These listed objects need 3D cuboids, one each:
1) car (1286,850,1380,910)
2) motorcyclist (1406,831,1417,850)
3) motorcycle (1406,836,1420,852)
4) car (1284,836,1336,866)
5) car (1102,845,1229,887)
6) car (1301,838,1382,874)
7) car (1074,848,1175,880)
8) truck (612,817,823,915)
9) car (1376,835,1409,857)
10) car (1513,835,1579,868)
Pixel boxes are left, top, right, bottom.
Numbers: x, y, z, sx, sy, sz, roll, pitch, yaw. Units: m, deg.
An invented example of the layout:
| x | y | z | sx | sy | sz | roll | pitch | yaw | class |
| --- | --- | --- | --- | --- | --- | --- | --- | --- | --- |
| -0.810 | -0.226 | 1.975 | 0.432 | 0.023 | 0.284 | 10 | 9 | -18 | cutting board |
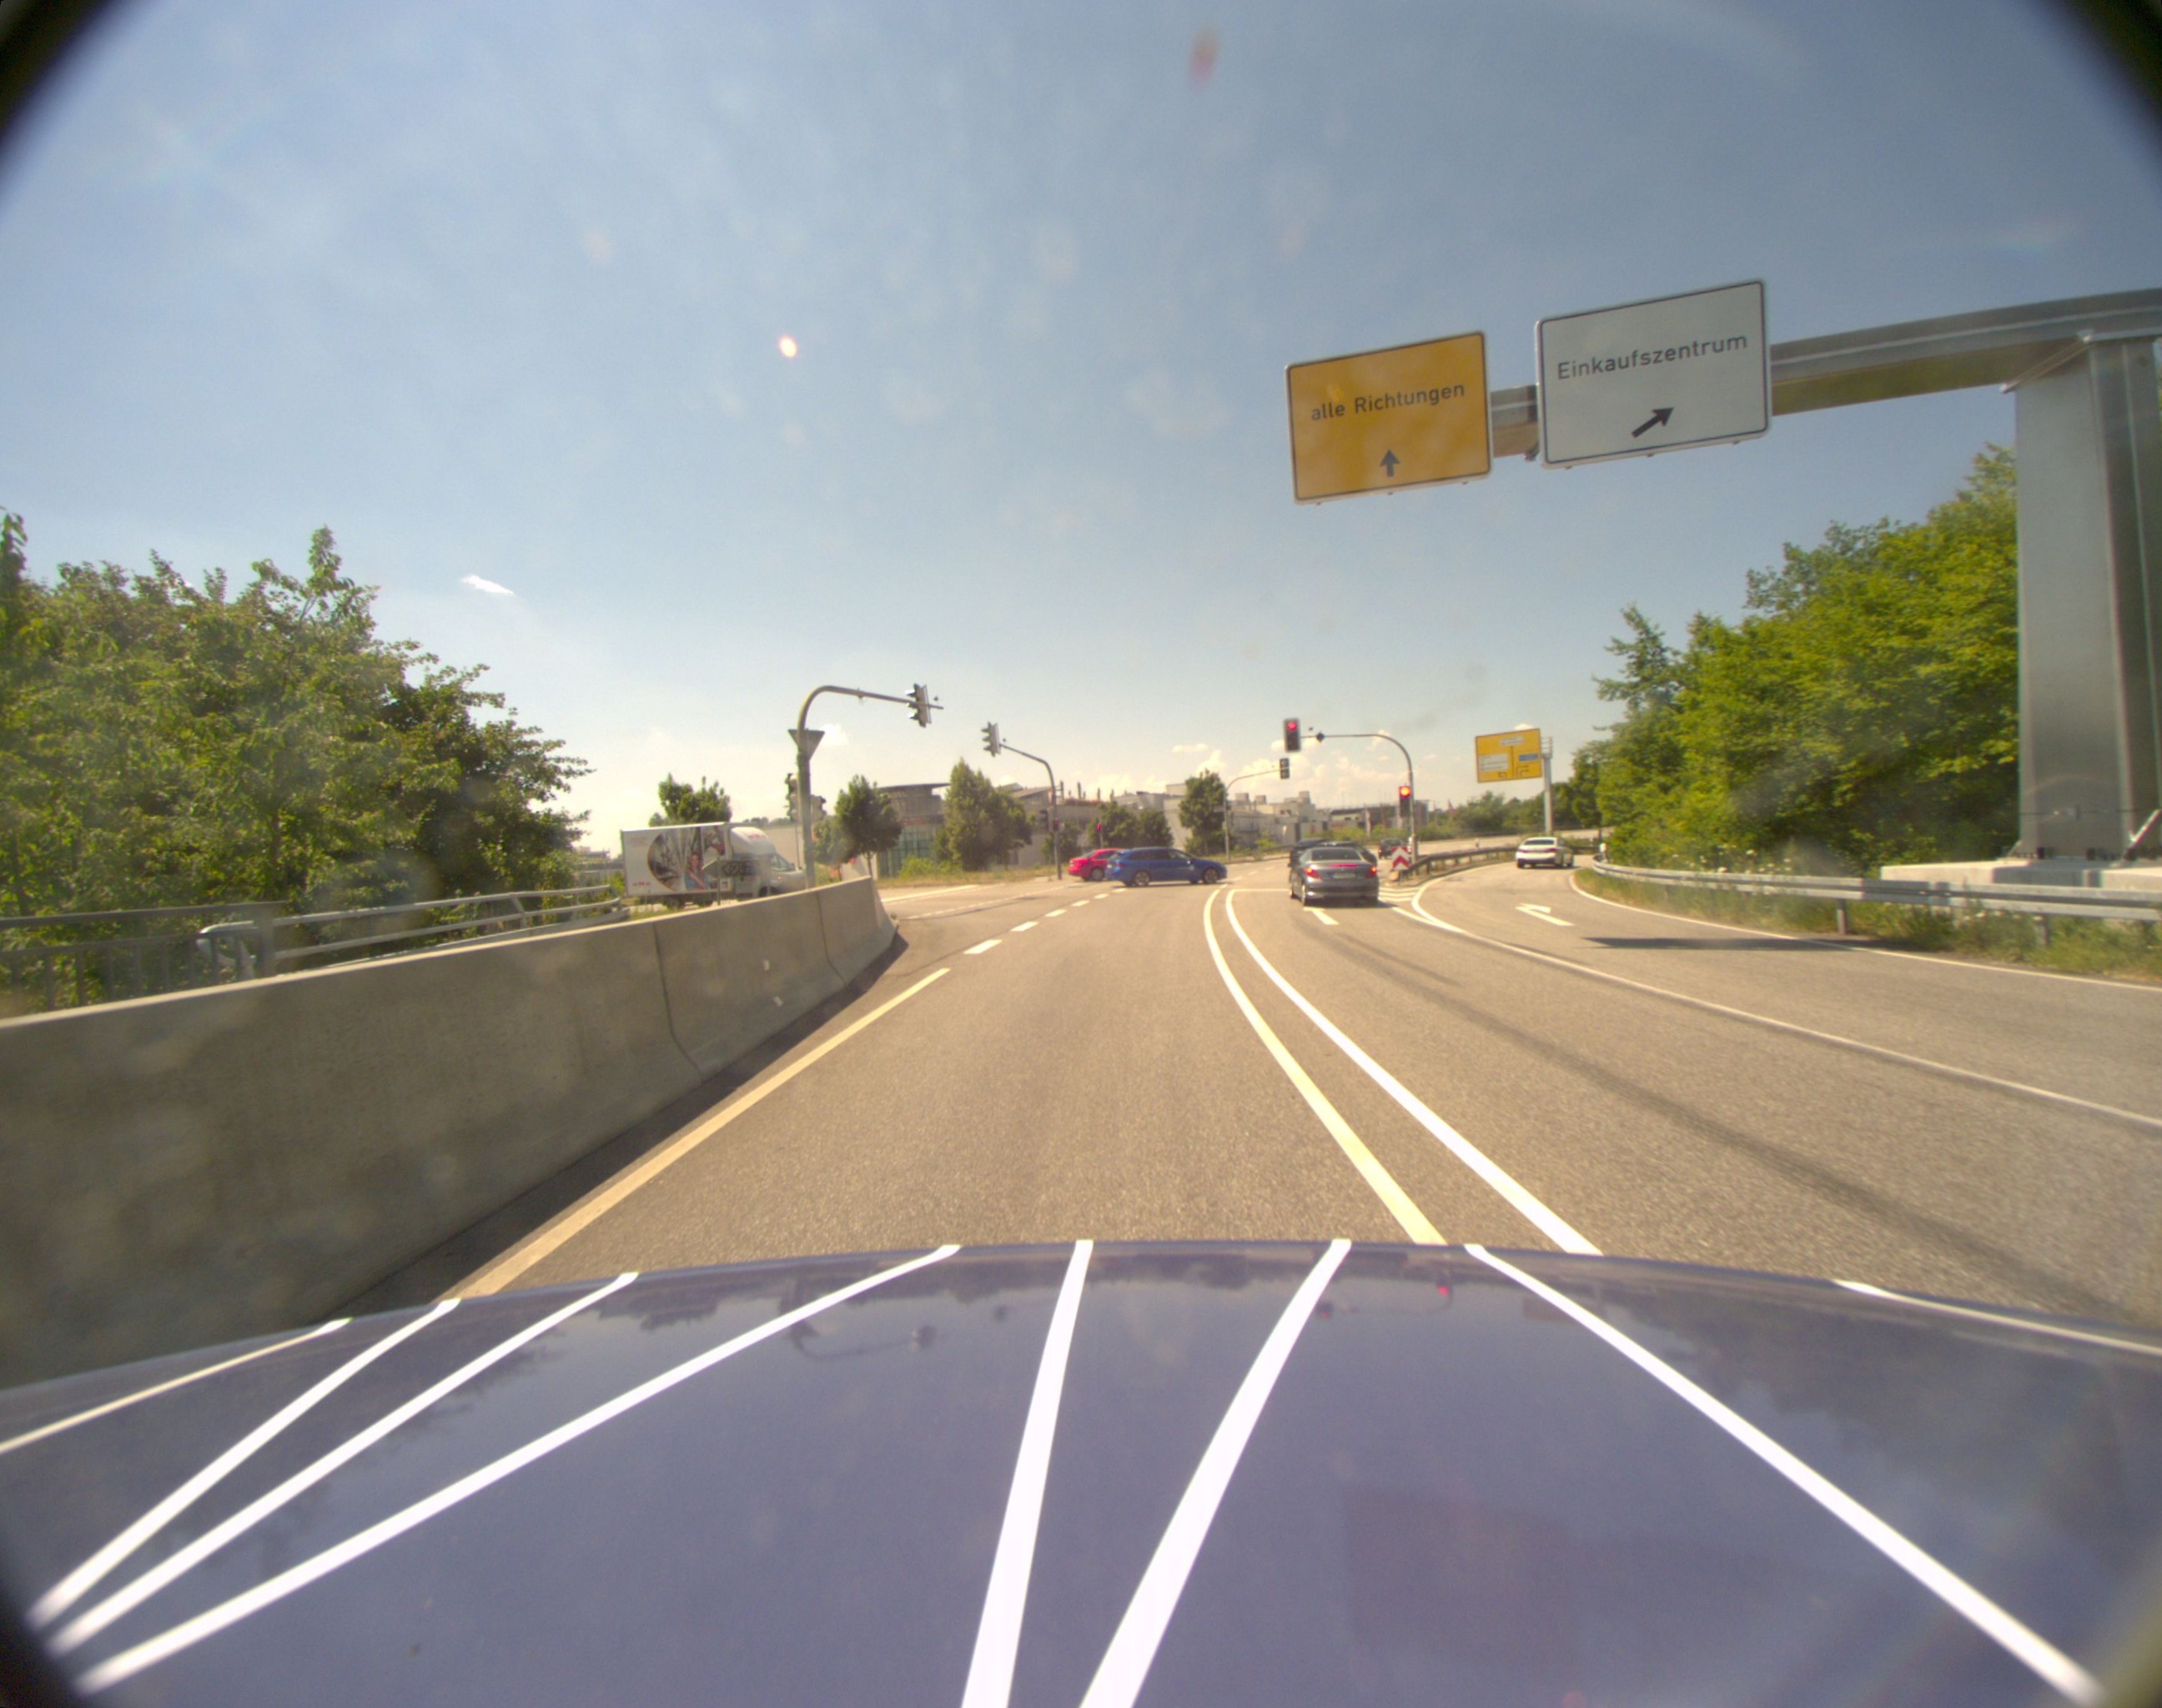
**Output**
| x | y | z | sx | sy | sz | roll | pitch | yaw | class |
| --- | --- | --- | --- | --- | --- | --- | --- | --- | --- |
| 6.227 | 0.578 | 19.178 | 1.648 | 1.344 | 3.971 | 0 | 1 | 9 | car |
| 26.334 | -1.069 | 60.449 | 0.611 | 1.531 | 0.848 | -1 | 2 | 36 | motorcyclist |
| 26.433 | -0.777 | 60.498 | 0.576 | 1.231 | 1.944 | -1 | 2 | 36 | motorcycle |
| 13.507 | -0.225 | 44.627 | 1.876 | 1.592 | 4.513 | -1 | 1 | 30 | car |
| 3.197 | 0.420 | 29.009 | 4.490 | 1.454 | 1.711 | -1 | 1 | -10 | car |
| 12.417 | 0.058 | 36.101 | 4.437 | 1.474 | 1.778 | -3 | 4 | -43 | car |
| 1.959 | 0.435 | 35.207 | 4.449 | 1.380 | 1.665 | -1 | 2 | -6 | car |
| -14.355 | 0.431 | 30.220 | 7.192 | 3.330 | 2.416 | -3 | 3 | 9 | truck |
| 21.691 | -0.586 | 52.890 | 1.620 | 1.399 | 3.306 | 1 | 3 | 31 | car |
| 22.487 | -0.149 | 36.645 | 1.838 | 1.476 | 4.847 | 0 | 1 | 42 | car |
